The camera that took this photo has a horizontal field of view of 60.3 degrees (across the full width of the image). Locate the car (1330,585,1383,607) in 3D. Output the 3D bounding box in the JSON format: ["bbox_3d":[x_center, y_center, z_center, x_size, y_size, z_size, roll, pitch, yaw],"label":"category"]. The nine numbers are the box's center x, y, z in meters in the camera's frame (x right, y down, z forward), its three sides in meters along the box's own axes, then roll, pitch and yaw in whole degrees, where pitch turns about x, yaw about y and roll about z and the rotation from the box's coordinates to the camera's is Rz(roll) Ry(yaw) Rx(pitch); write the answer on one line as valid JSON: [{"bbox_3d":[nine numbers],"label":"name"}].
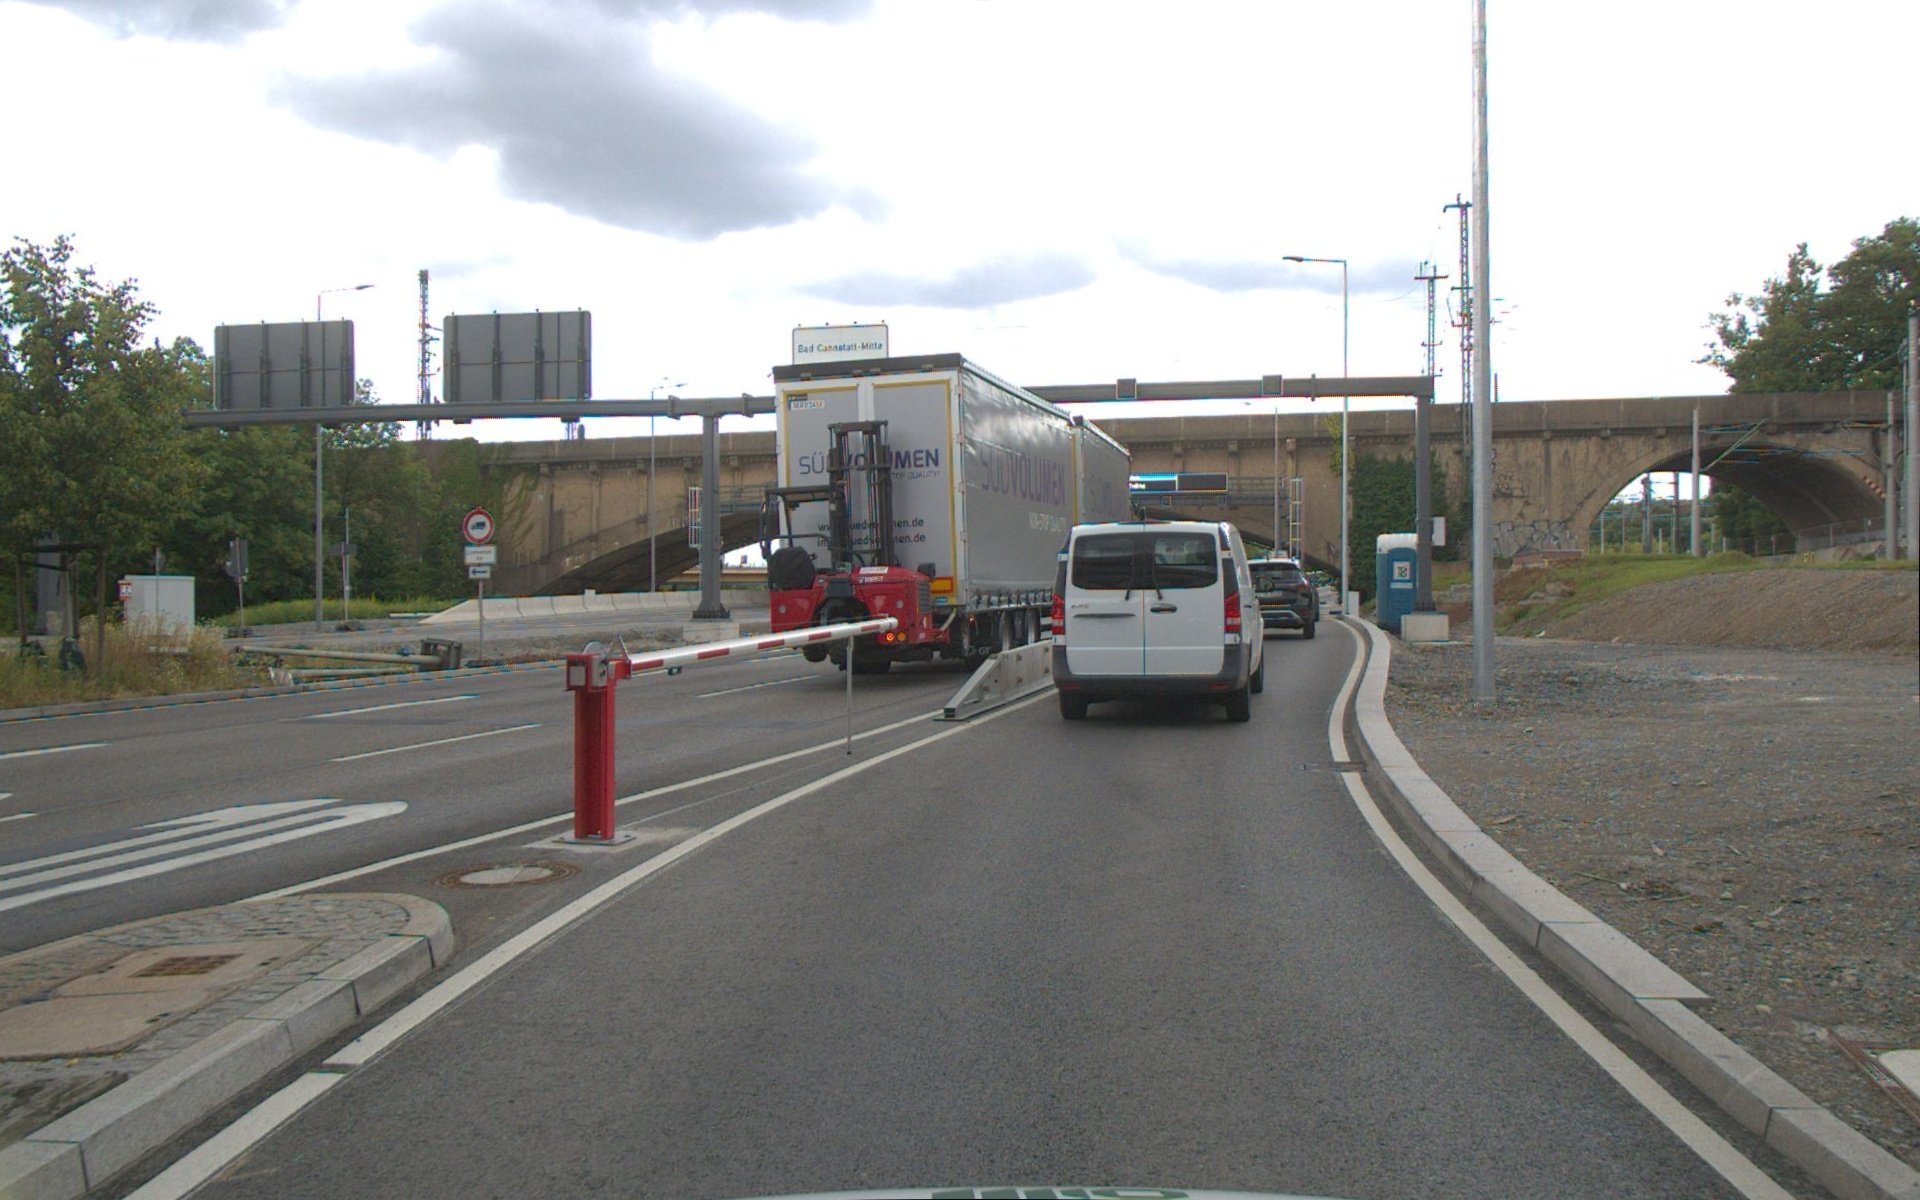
[{"bbox_3d":[36.251,-0.324,151.153,4.400,1.841,1.895,2,-2,-17],"label":"car"}]

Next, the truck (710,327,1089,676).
[{"bbox_3d":[-0.368,-1.095,24.654,2.855,4.087,10.207,1,-1,14],"label":"truck"}]

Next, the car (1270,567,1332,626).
[{"bbox_3d":[9.482,-0.078,45.844,1.469,1.495,3.401,0,-2,15],"label":"car"}]

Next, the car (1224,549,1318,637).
[{"bbox_3d":[6.298,-0.143,33.242,1.712,1.653,3.848,-1,0,12],"label":"car"}]

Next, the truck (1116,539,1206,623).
[{"bbox_3d":[10.735,-0.988,86.578,3.246,3.876,16.608,1,1,12],"label":"truck"}]

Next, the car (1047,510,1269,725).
[{"bbox_3d":[2.210,0.083,17.278,1.836,1.924,4.758,0,2,12],"label":"car"}]

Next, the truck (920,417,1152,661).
[{"bbox_3d":[1.957,-0.919,34.535,2.924,4.250,11.248,1,-2,12],"label":"truck"}]
